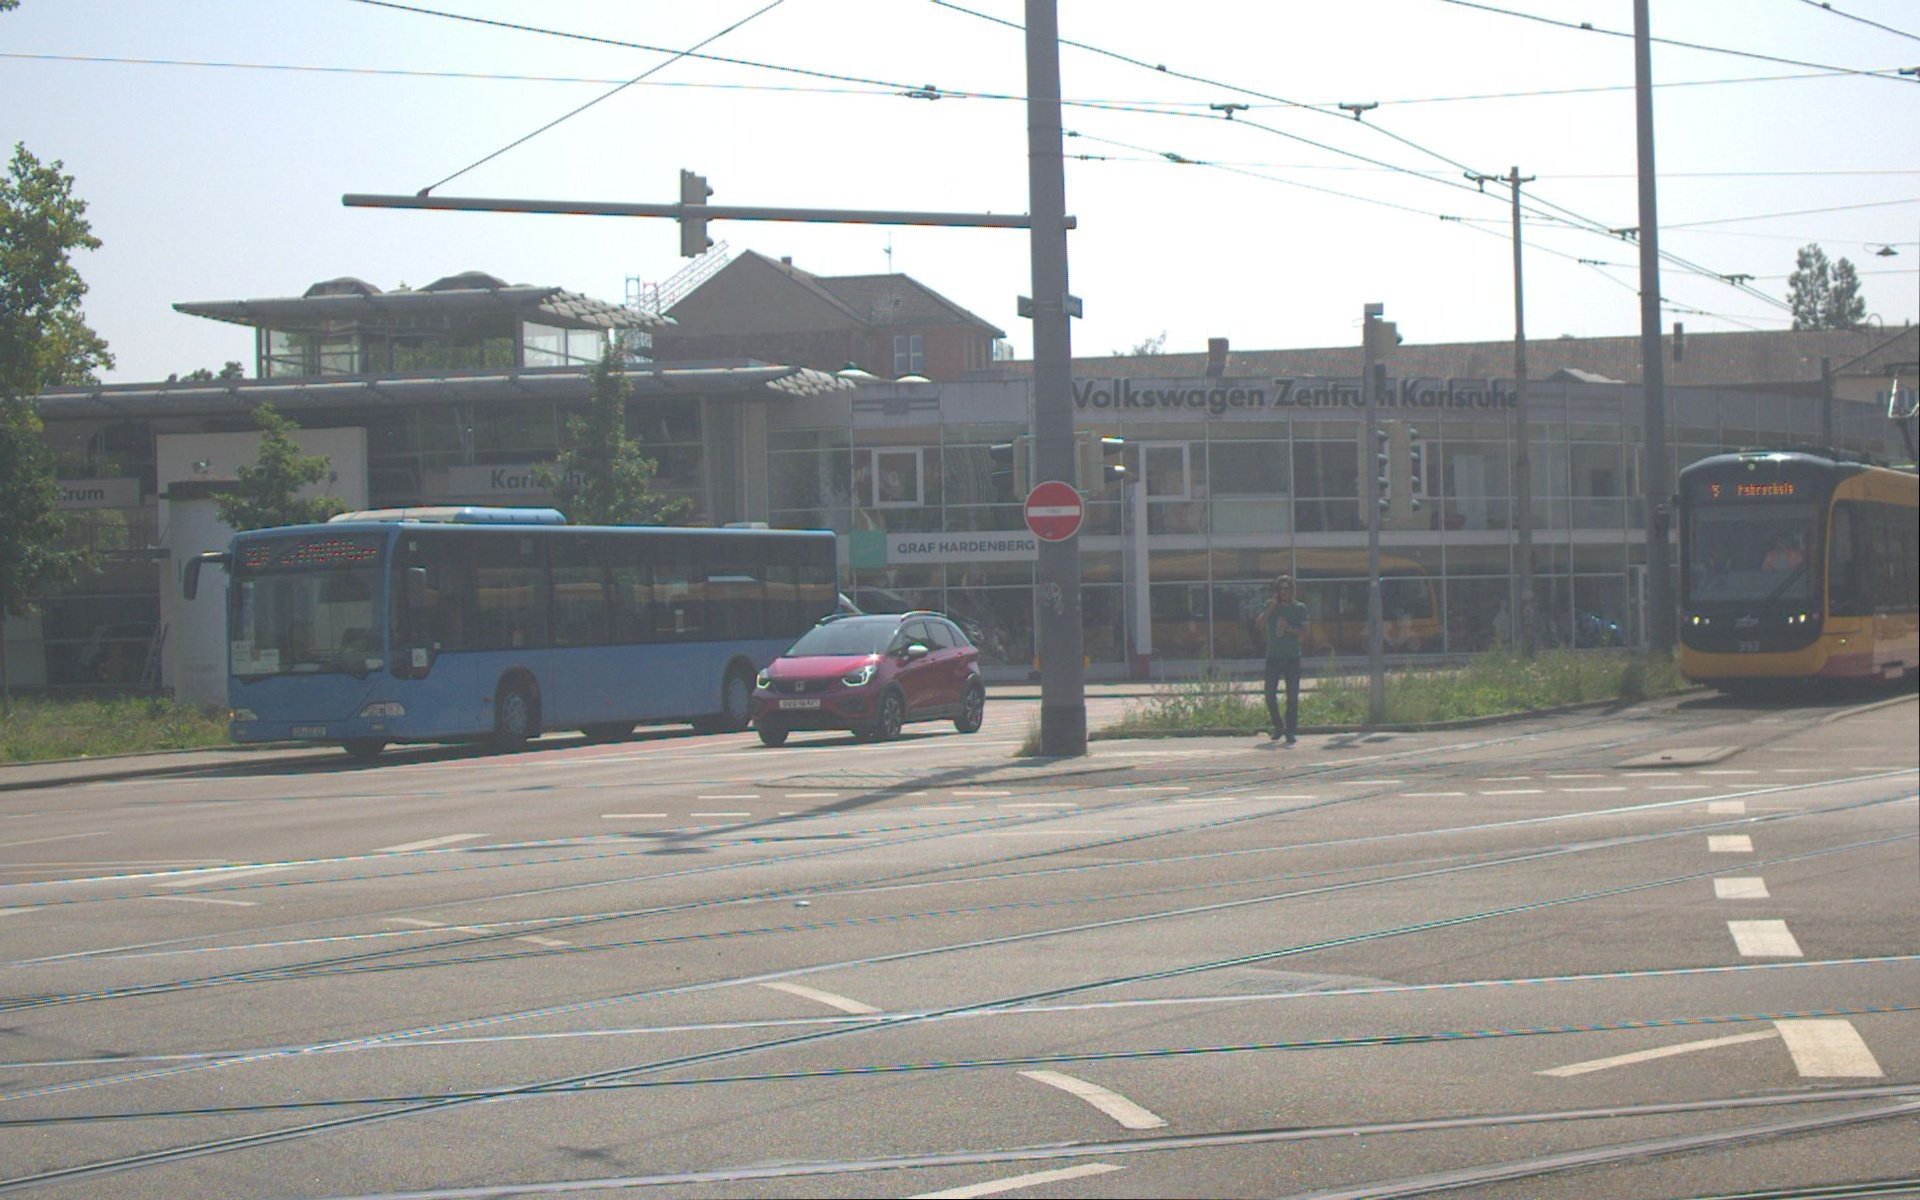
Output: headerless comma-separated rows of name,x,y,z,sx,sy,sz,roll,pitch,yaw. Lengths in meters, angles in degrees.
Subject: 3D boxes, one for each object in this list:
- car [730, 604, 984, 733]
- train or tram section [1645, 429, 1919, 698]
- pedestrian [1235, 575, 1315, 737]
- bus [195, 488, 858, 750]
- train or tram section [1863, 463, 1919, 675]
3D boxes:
car,-1.206,0.815,42.119,1.626,1.467,3.767,-1,0,24
train or tram section,13.281,-0.409,51.415,2.591,3.548,12.198,0,-1,28
pedestrian,3.336,0.589,36.374,0.802,1.681,0.719,-1,0,6
bus,-5.352,0.220,46.165,2.729,3.054,12.065,-1,0,25
train or tram section,19.193,-0.434,62.715,2.591,3.548,12.198,0,-1,28
